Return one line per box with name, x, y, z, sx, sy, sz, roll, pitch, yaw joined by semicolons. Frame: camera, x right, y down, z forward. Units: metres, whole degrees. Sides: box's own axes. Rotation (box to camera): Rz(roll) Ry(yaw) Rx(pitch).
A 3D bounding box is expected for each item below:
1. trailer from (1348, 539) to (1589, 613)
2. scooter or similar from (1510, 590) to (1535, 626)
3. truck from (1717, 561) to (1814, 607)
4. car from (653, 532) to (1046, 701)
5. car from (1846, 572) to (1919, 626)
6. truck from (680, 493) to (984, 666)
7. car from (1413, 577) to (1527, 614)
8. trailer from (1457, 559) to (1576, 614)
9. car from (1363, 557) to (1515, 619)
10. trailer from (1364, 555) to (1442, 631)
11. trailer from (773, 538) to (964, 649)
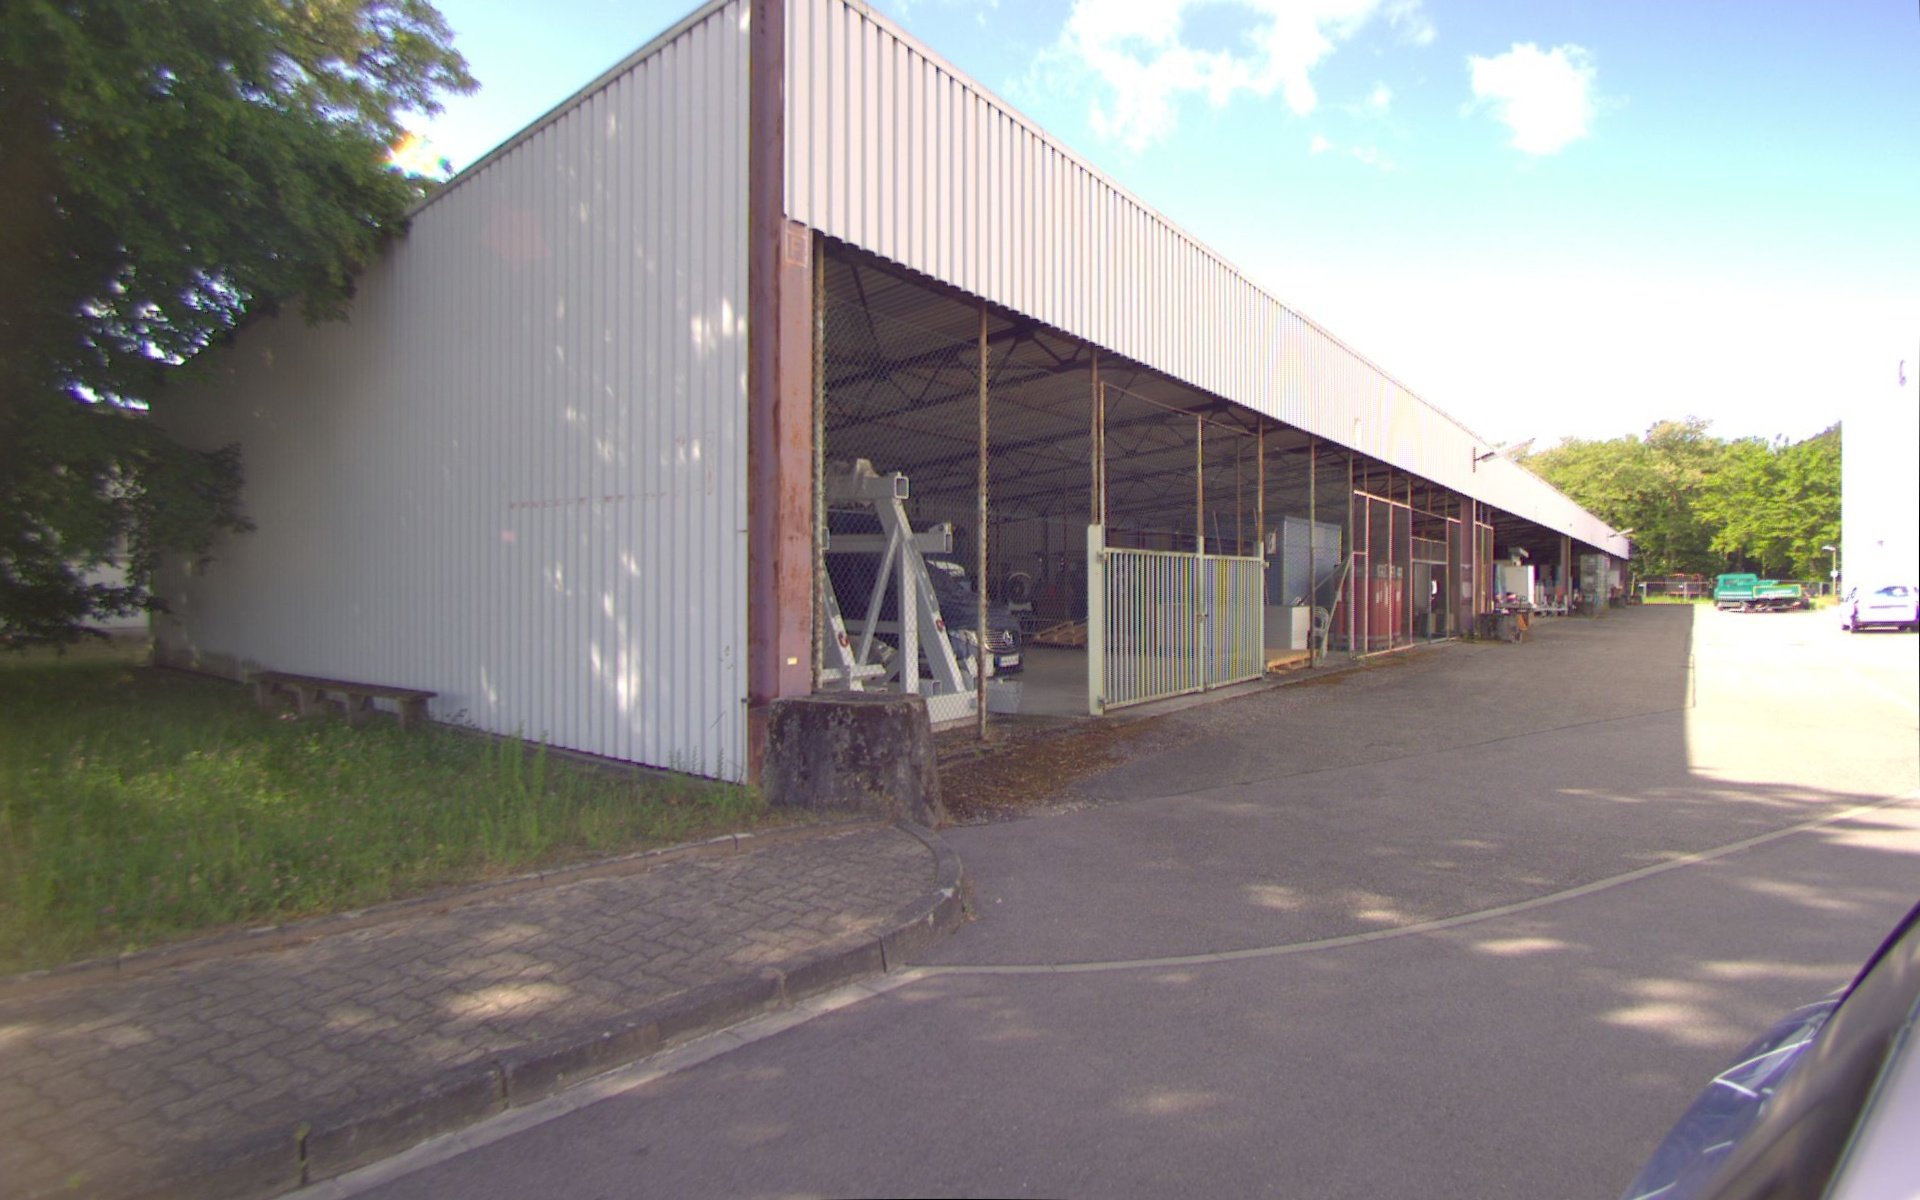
trailer;24.877;-1.289;50.027;10.273;3.336;2.639;3;2;38
scooter or similar;18.626;0.252;33.488;0.519;1.148;1.572;1;2;36
truck;53.524;-1.002;67.582;2.560;2.751;9.616;-3;-1;24
car;-1.606;0.147;13.982;5.142;1.942;2.253;0;1;32
car;33.083;-0.049;36.013;1.923;1.812;4.537;-1;0;36
truck;-2.470;-0.393;18.656;5.553;2.740;2.335;1;1;37
car;22.785;-0.235;45.269;4.329;1.451;1.843;2;2;34
trailer;25.487;-0.657;46.420;4.533;2.364;1.665;2;2;38
car;19.048;-0.516;40.352;5.202;2.326;2.057;1;2;37
trailer;13.522;-0.266;30.801;1.571;2.169;3.480;2;2;34
trailer;-1.981;-0.184;21.789;3.399;2.164;2.429;1;1;39
